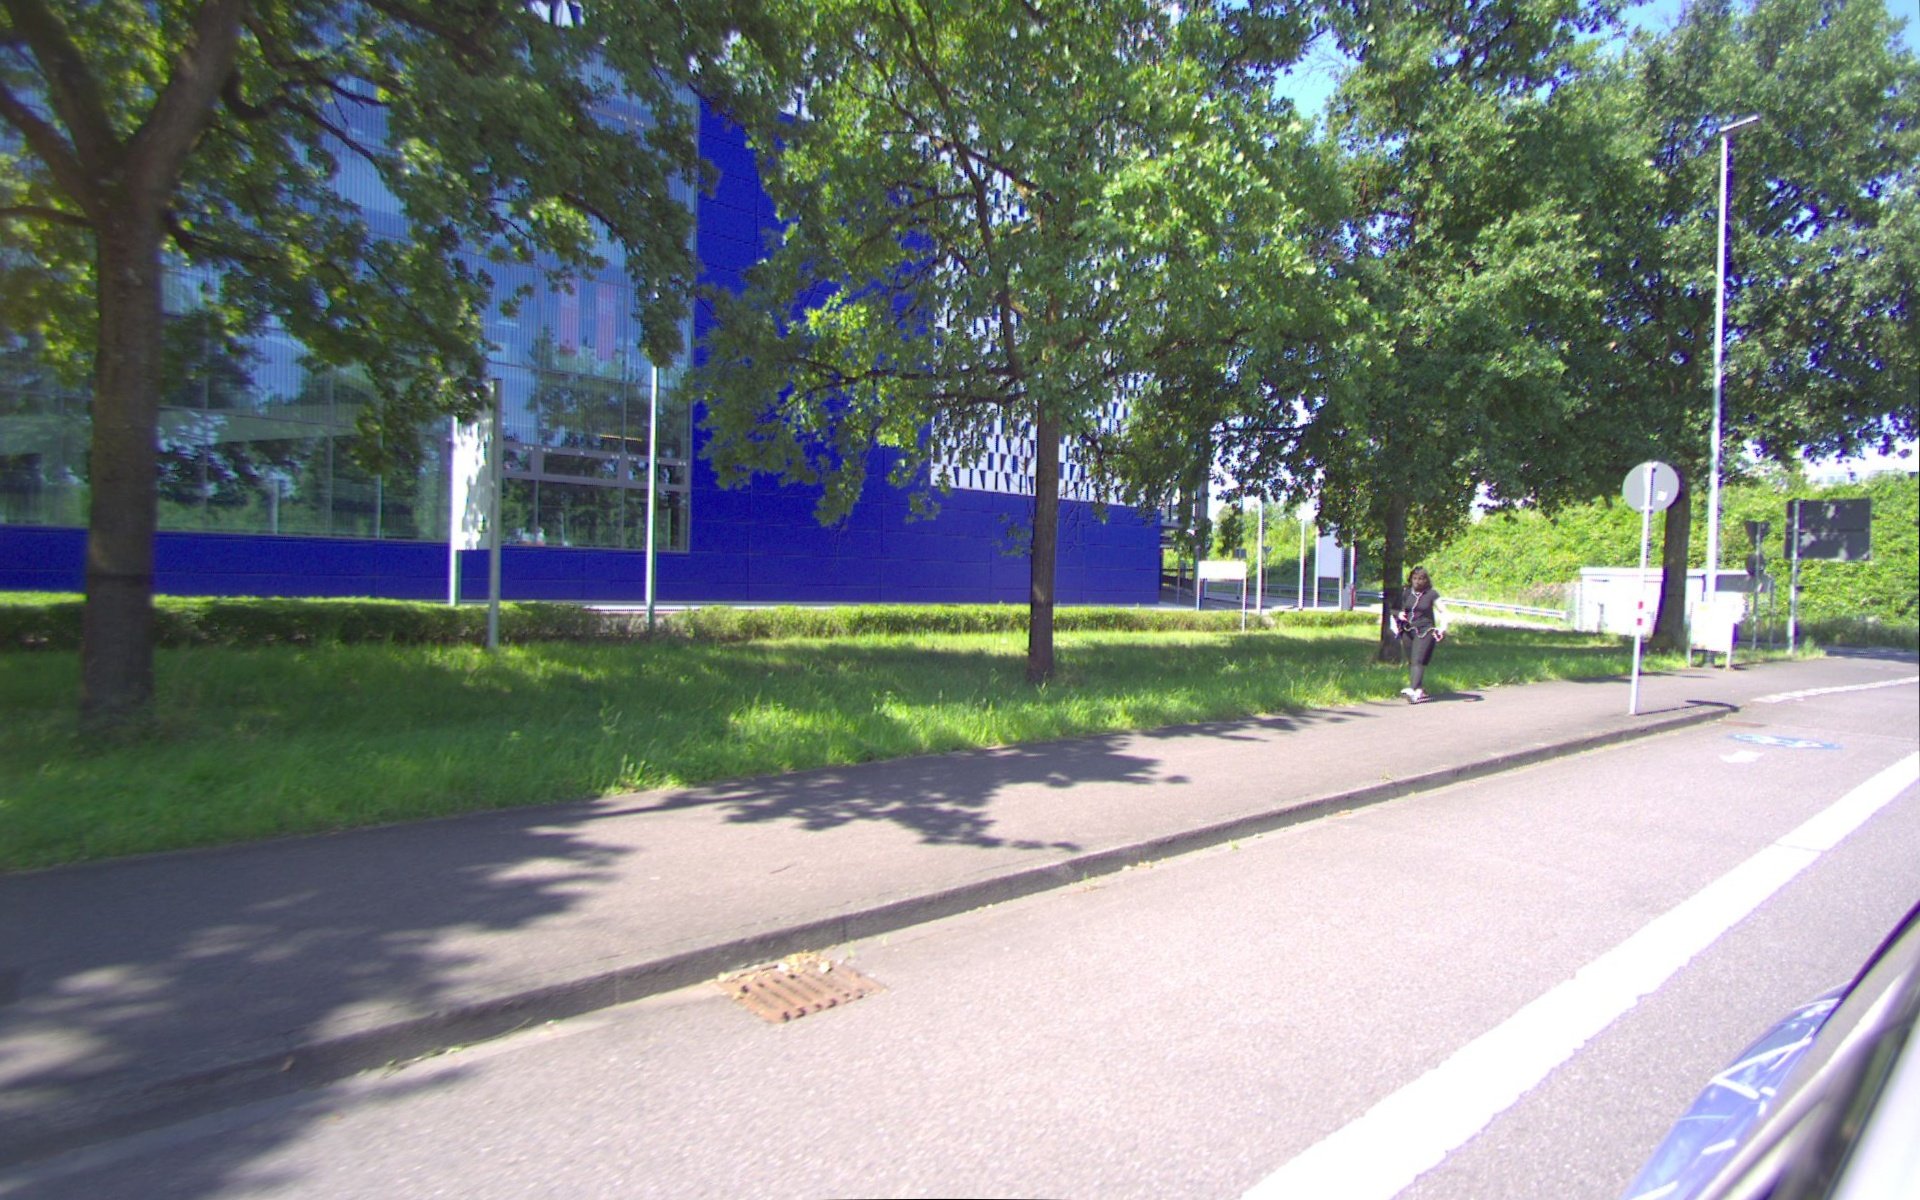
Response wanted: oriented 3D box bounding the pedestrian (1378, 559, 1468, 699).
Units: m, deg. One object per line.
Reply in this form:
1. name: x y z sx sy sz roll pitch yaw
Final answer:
1. pedestrian: 5.600 0.327 12.229 0.831 1.623 0.648 1 1 -39
